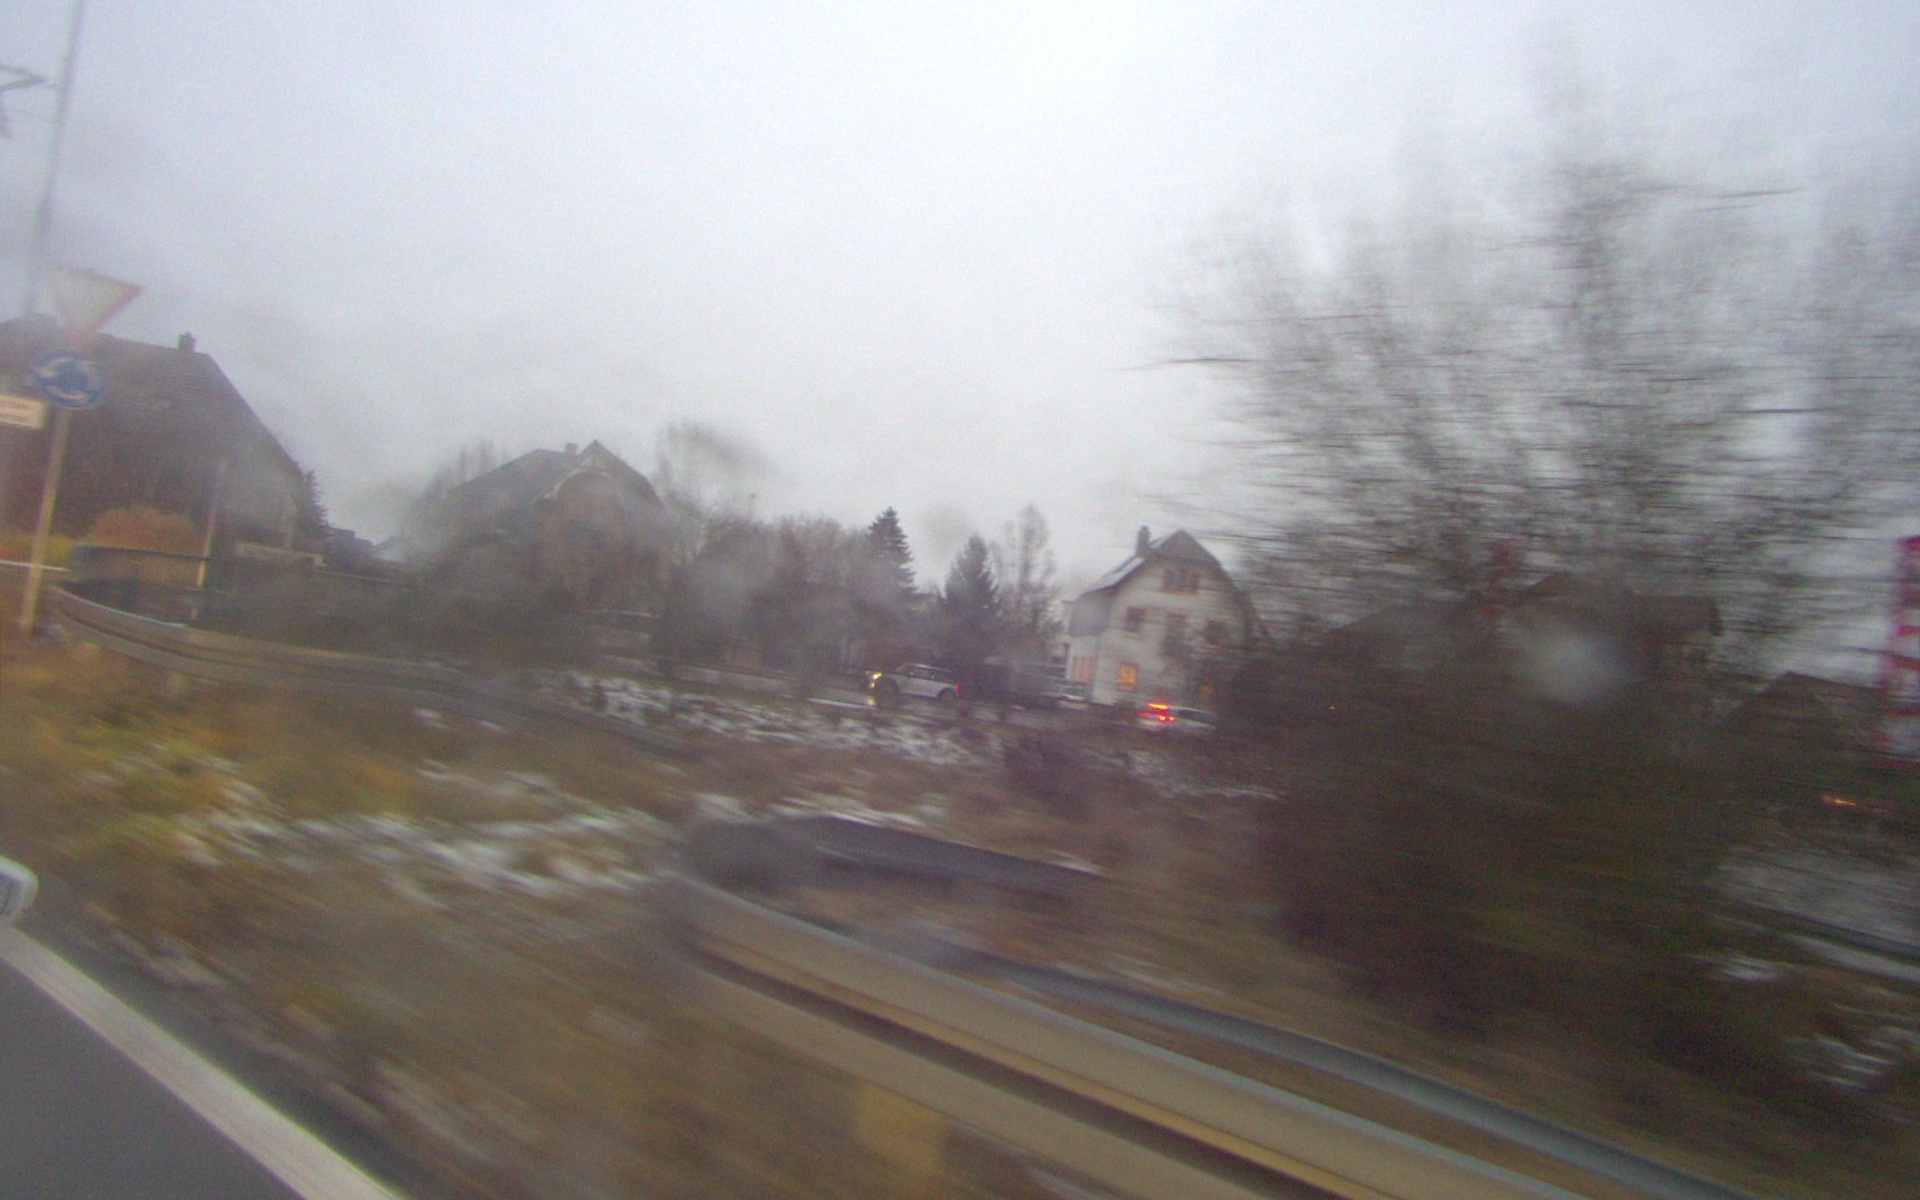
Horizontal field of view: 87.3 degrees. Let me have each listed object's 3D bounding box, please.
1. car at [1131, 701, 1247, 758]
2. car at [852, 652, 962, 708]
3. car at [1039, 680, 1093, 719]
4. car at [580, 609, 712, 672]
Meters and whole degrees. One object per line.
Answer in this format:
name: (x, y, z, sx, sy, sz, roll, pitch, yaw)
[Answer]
car: (8.648, 4.896, 38.107, 3.799, 1.507, 1.757, 10, -5, -18)
car: (-2.013, 3.003, 37.986, 3.663, 1.507, 1.657, 11, -5, -20)
car: (5.437, 5.112, 52.080, 1.882, 1.503, 3.999, 7, -2, -5)
car: (-13.982, 1.849, 45.049, 5.157, 1.938, 1.940, 9, -4, -6)
